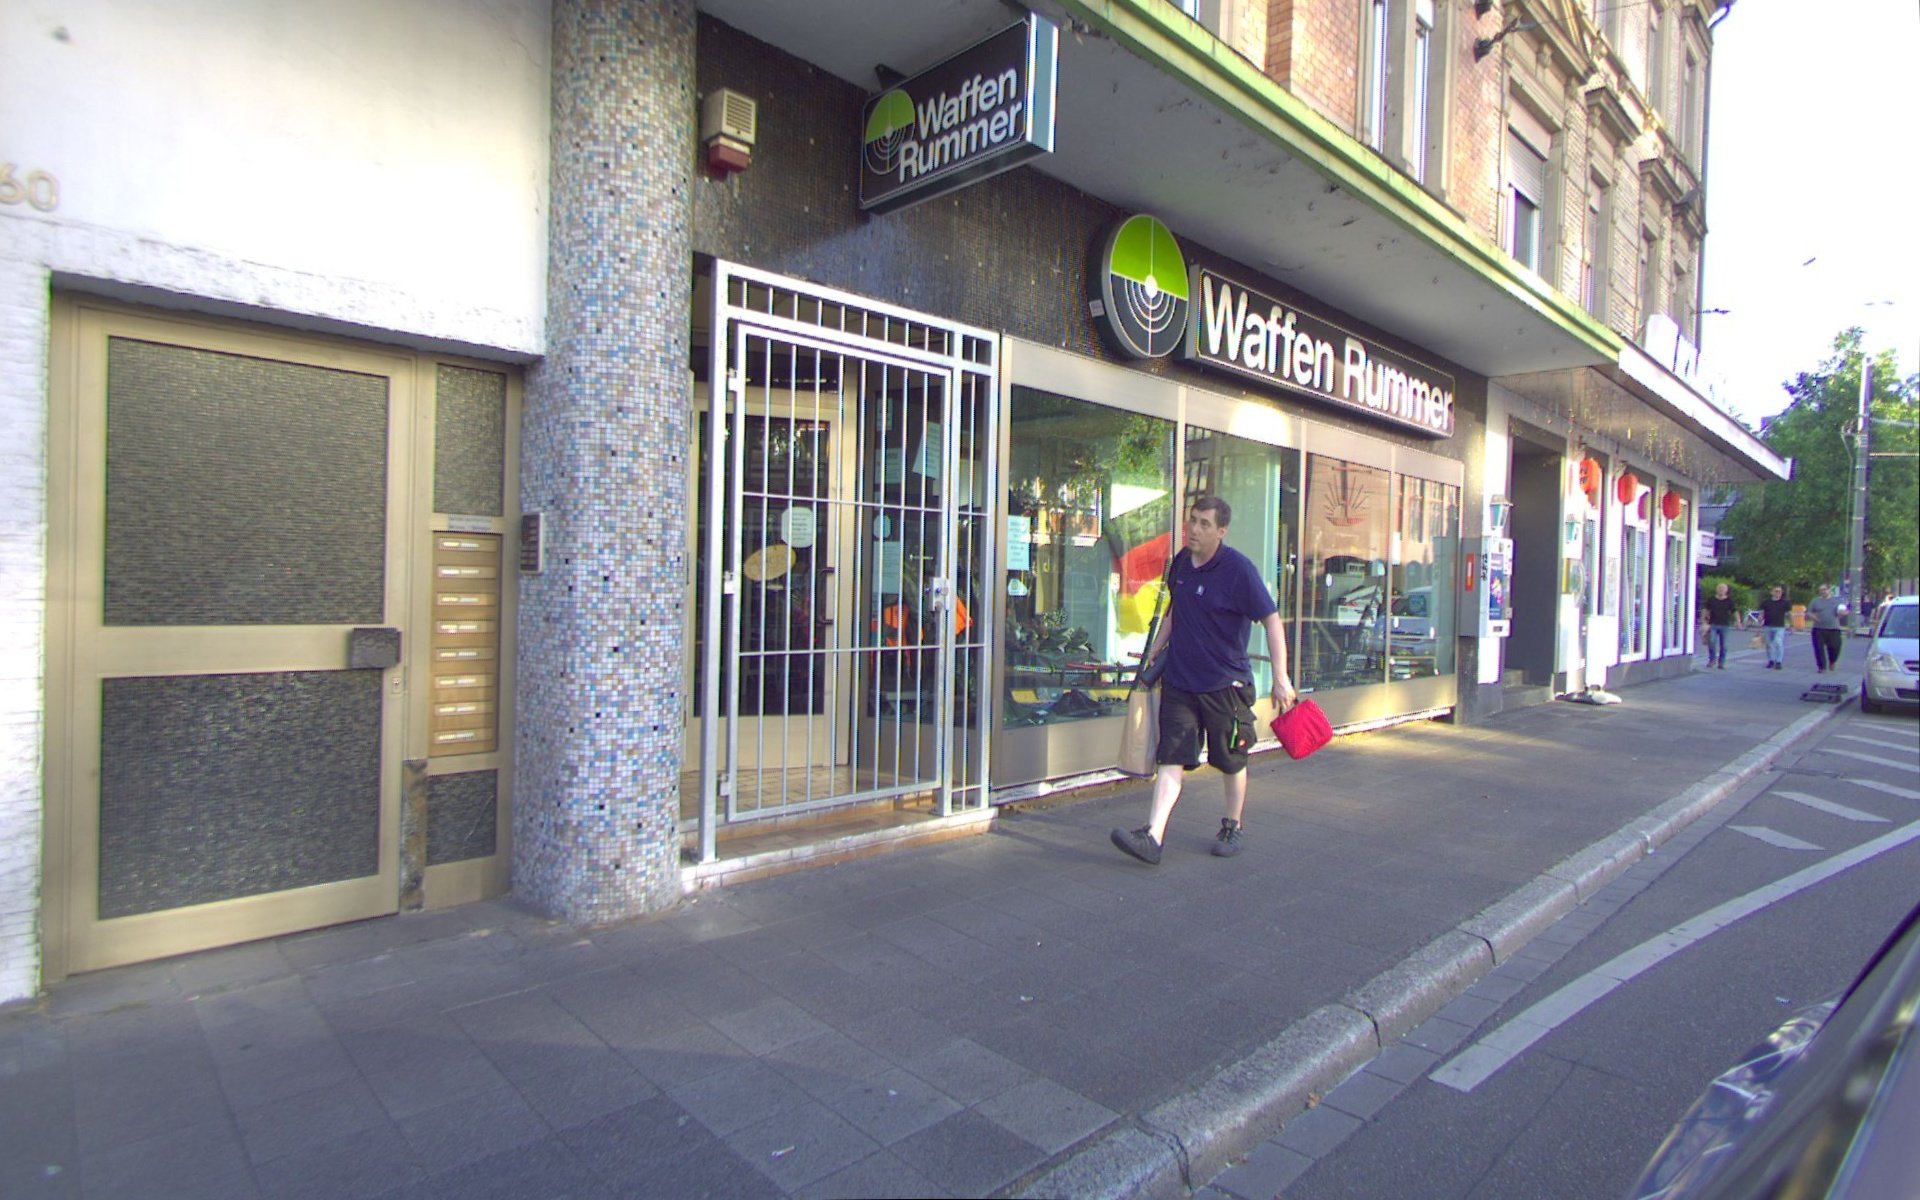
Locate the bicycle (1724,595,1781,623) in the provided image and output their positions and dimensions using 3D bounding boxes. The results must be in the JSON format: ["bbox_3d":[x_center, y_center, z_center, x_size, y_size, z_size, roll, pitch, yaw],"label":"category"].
[{"bbox_3d":[34.196,0.369,43.689,0.461,1.109,1.882,0,2,-45],"label":"bicycle"}]

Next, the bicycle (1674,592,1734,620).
[{"bbox_3d":[32.511,0.263,44.242,2.012,1.109,0.628,4,2,40],"label":"bicycle"}]

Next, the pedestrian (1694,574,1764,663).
[{"bbox_3d":[15.858,0.355,20.861,1.016,1.734,0.902,0,4,-44],"label":"pedestrian"}]

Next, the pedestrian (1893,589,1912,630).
[{"bbox_3d":[40.912,0.404,43.921,0.430,1.734,0.493,0,3,-44],"label":"pedestrian"}]

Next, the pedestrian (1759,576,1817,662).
[{"bbox_3d":[17.910,0.388,21.883,1.016,1.778,0.811,0,2,-44],"label":"pedestrian"}]

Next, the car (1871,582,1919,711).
[{"bbox_3d":[13.828,0.587,13.996,1.638,1.635,3.881,1,1,45],"label":"car"}]

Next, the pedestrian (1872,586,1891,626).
[{"bbox_3d":[40.476,0.249,44.435,0.430,1.734,0.493,0,3,-44],"label":"pedestrian"}]

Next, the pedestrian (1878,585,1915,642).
[{"bbox_3d":[29.683,0.428,32.083,0.930,1.759,0.788,0,1,-44],"label":"pedestrian"}]

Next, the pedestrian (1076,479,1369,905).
[{"bbox_3d":[1.298,0.368,5.004,1.037,1.814,0.947,0,2,-44],"label":"pedestrian"}]

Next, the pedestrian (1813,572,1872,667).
[{"bbox_3d":[18.593,0.386,21.314,1.016,1.922,0.794,0,2,-44],"label":"pedestrian"}]
